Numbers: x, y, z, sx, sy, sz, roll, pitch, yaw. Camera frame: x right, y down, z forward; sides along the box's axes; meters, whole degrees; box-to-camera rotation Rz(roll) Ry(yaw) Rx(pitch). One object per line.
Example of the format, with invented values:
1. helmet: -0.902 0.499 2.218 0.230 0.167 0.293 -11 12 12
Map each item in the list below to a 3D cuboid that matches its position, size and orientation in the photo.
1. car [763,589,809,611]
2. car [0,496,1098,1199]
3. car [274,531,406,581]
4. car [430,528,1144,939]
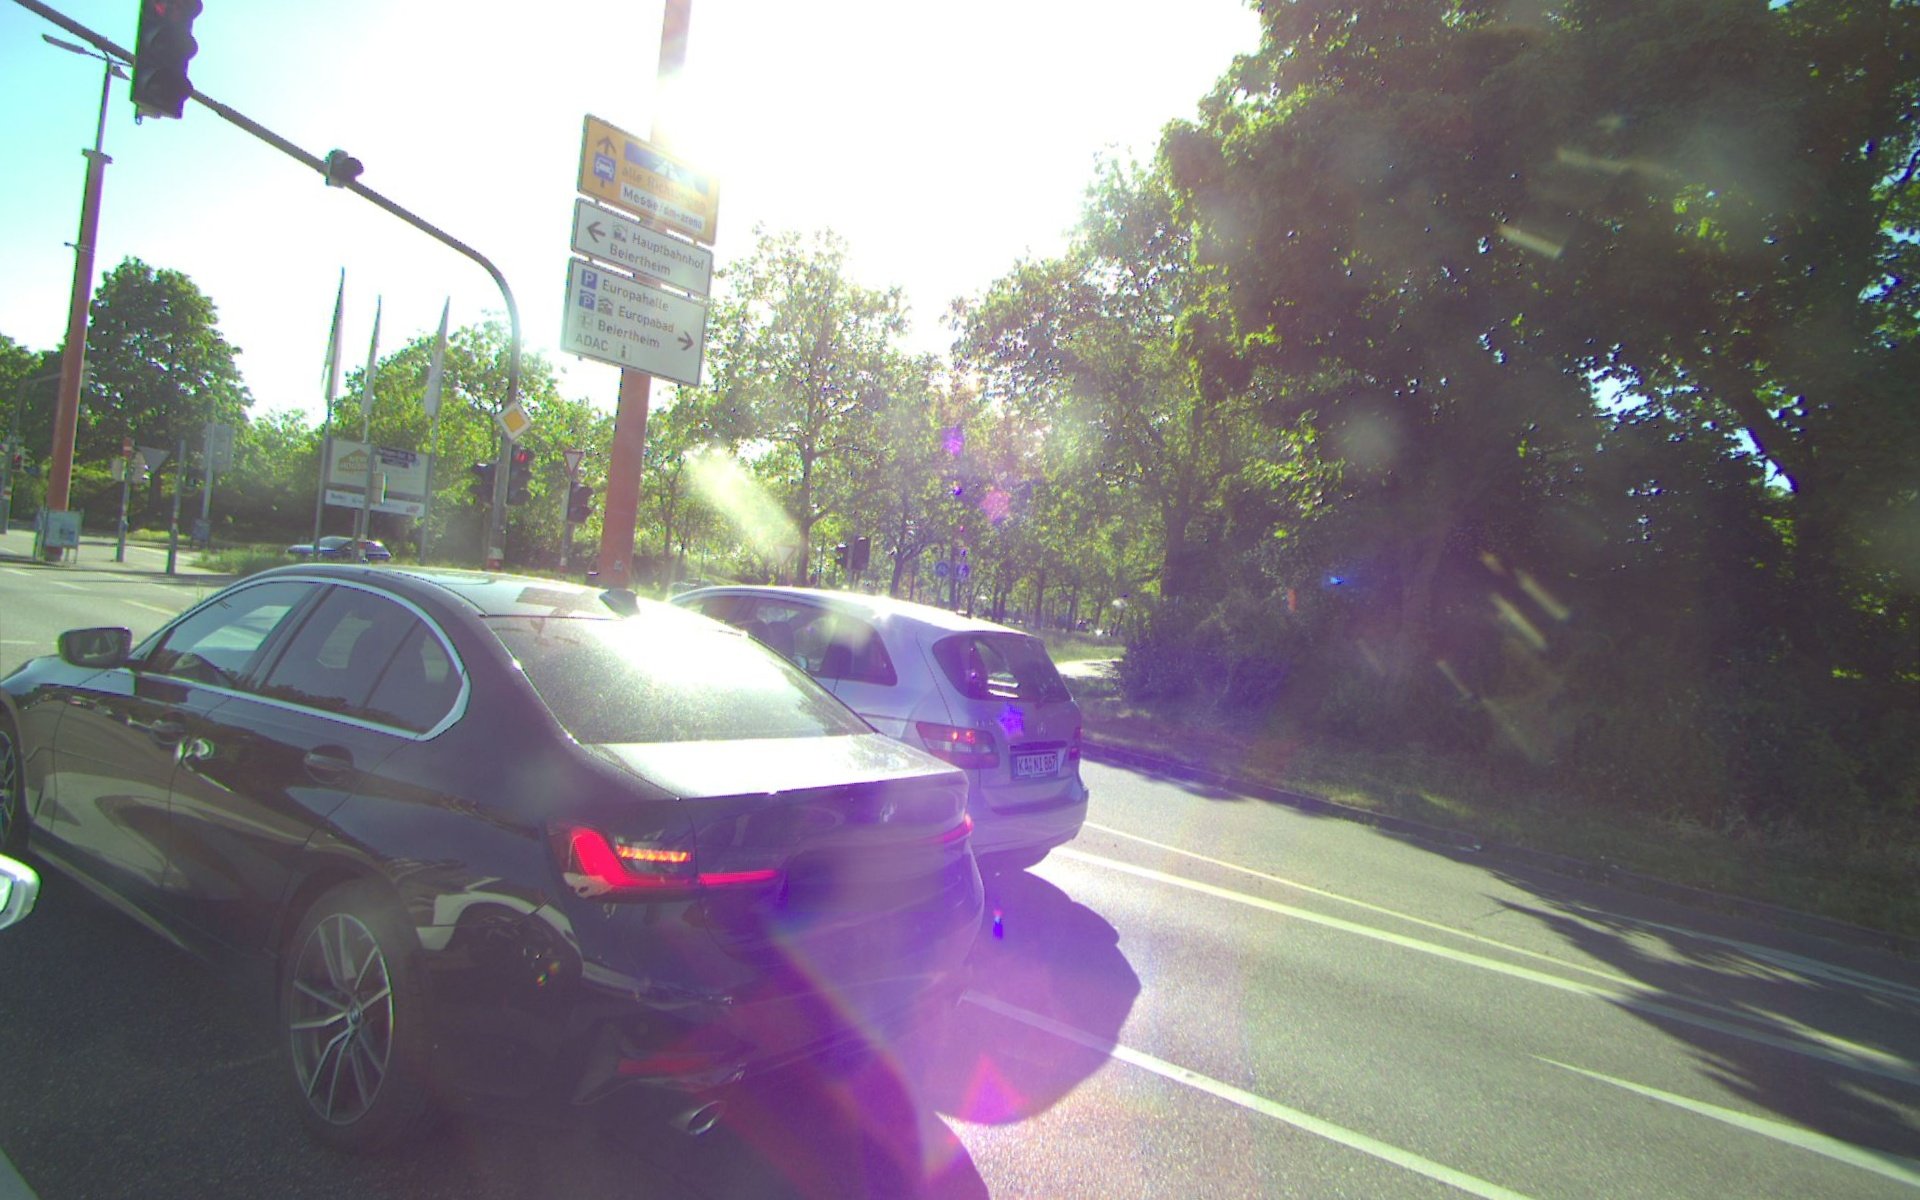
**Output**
1. car: -17.078 -0.003 98.839 4.207 1.592 2.163 7 0 -8
2. car: -1.958 0.531 3.880 4.403 1.411 1.996 7 0 32
3. car: -24.573 -1.715 40.075 1.848 1.445 4.283 7 -1 14
4. car: -1.280 0.642 6.788 4.403 1.706 1.970 7 -1 32
